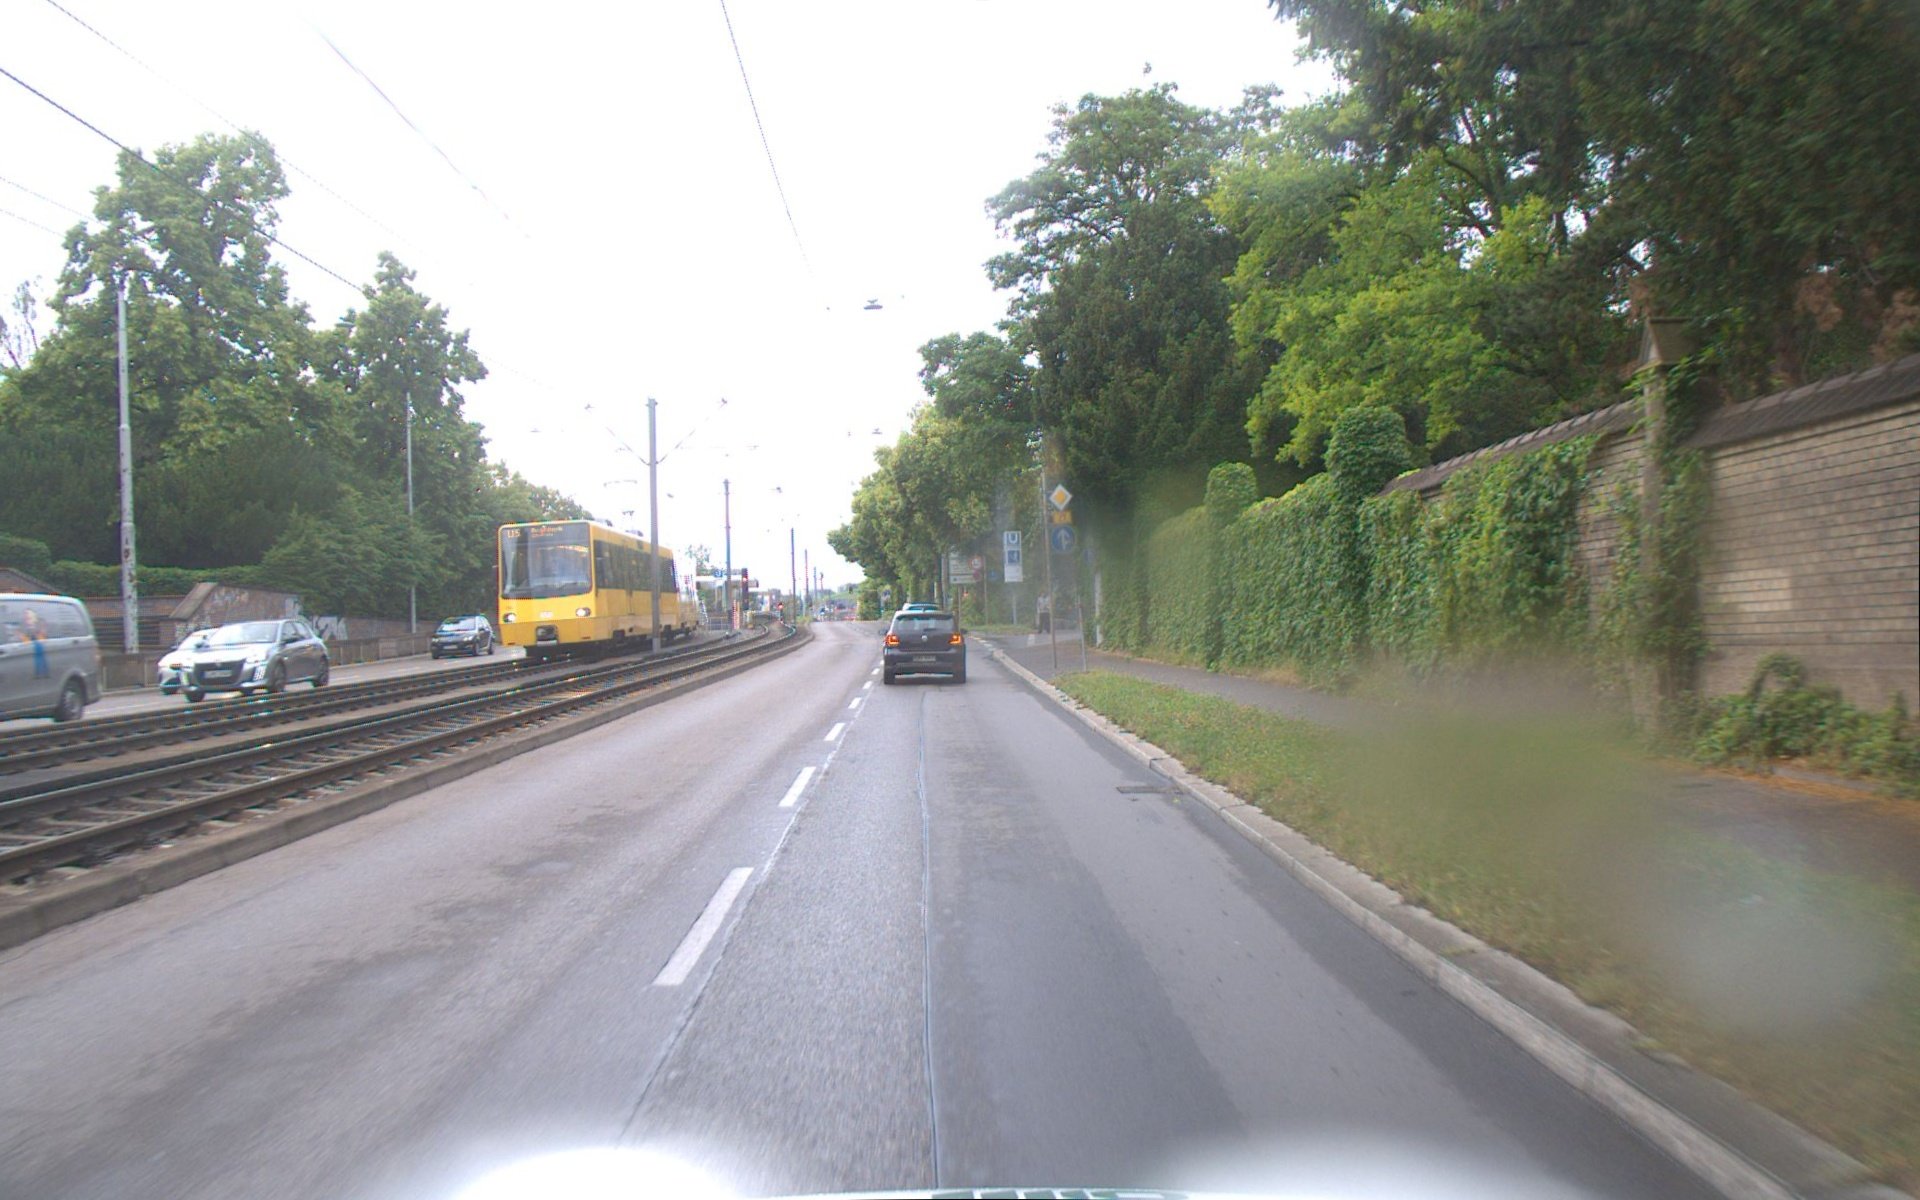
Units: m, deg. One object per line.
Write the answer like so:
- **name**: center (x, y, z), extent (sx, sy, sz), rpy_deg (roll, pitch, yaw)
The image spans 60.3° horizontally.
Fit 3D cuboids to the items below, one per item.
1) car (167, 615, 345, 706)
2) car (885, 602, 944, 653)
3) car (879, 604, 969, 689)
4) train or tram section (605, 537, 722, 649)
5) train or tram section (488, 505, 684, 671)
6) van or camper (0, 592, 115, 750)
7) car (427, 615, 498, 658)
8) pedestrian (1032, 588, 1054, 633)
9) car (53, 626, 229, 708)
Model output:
- **car**: center (-13.532, 1.102, 32.093), extent (1.751, 1.559, 4.501), rpy_deg (-2, 0, -4)
- **car**: center (-1.516, 0.860, 53.589), extent (1.654, 1.544, 3.996), rpy_deg (-2, 0, -5)
- **car**: center (-0.702, 0.889, 33.662), extent (1.691, 1.567, 3.999), rpy_deg (-2, 0, -1)
- **train or tram section**: center (-12.167, -0.232, 69.660), extent (2.772, 4.045, 17.861), rpy_deg (-2, 0, -4)
- **train or tram section**: center (-10.910, -0.271, 50.854), extent (2.772, 4.045, 20.011), rpy_deg (-2, 0, -4)
- **van or camper**: center (-13.093, 0.919, 21.210), extent (1.876, 1.994, 5.689), rpy_deg (-2, 0, -4)
- **car**: center (-18.342, 1.324, 61.118), extent (1.654, 1.493, 3.914), rpy_deg (-2, 0, -4)
- **pedestrian**: center (3.524, 0.457, 70.412), extent (0.837, 1.886, 0.736), rpy_deg (-1, 0, -2)
- **car**: center (-17.485, 1.387, 35.549), extent (1.654, 1.493, 4.477), rpy_deg (-3, 0, -2)
